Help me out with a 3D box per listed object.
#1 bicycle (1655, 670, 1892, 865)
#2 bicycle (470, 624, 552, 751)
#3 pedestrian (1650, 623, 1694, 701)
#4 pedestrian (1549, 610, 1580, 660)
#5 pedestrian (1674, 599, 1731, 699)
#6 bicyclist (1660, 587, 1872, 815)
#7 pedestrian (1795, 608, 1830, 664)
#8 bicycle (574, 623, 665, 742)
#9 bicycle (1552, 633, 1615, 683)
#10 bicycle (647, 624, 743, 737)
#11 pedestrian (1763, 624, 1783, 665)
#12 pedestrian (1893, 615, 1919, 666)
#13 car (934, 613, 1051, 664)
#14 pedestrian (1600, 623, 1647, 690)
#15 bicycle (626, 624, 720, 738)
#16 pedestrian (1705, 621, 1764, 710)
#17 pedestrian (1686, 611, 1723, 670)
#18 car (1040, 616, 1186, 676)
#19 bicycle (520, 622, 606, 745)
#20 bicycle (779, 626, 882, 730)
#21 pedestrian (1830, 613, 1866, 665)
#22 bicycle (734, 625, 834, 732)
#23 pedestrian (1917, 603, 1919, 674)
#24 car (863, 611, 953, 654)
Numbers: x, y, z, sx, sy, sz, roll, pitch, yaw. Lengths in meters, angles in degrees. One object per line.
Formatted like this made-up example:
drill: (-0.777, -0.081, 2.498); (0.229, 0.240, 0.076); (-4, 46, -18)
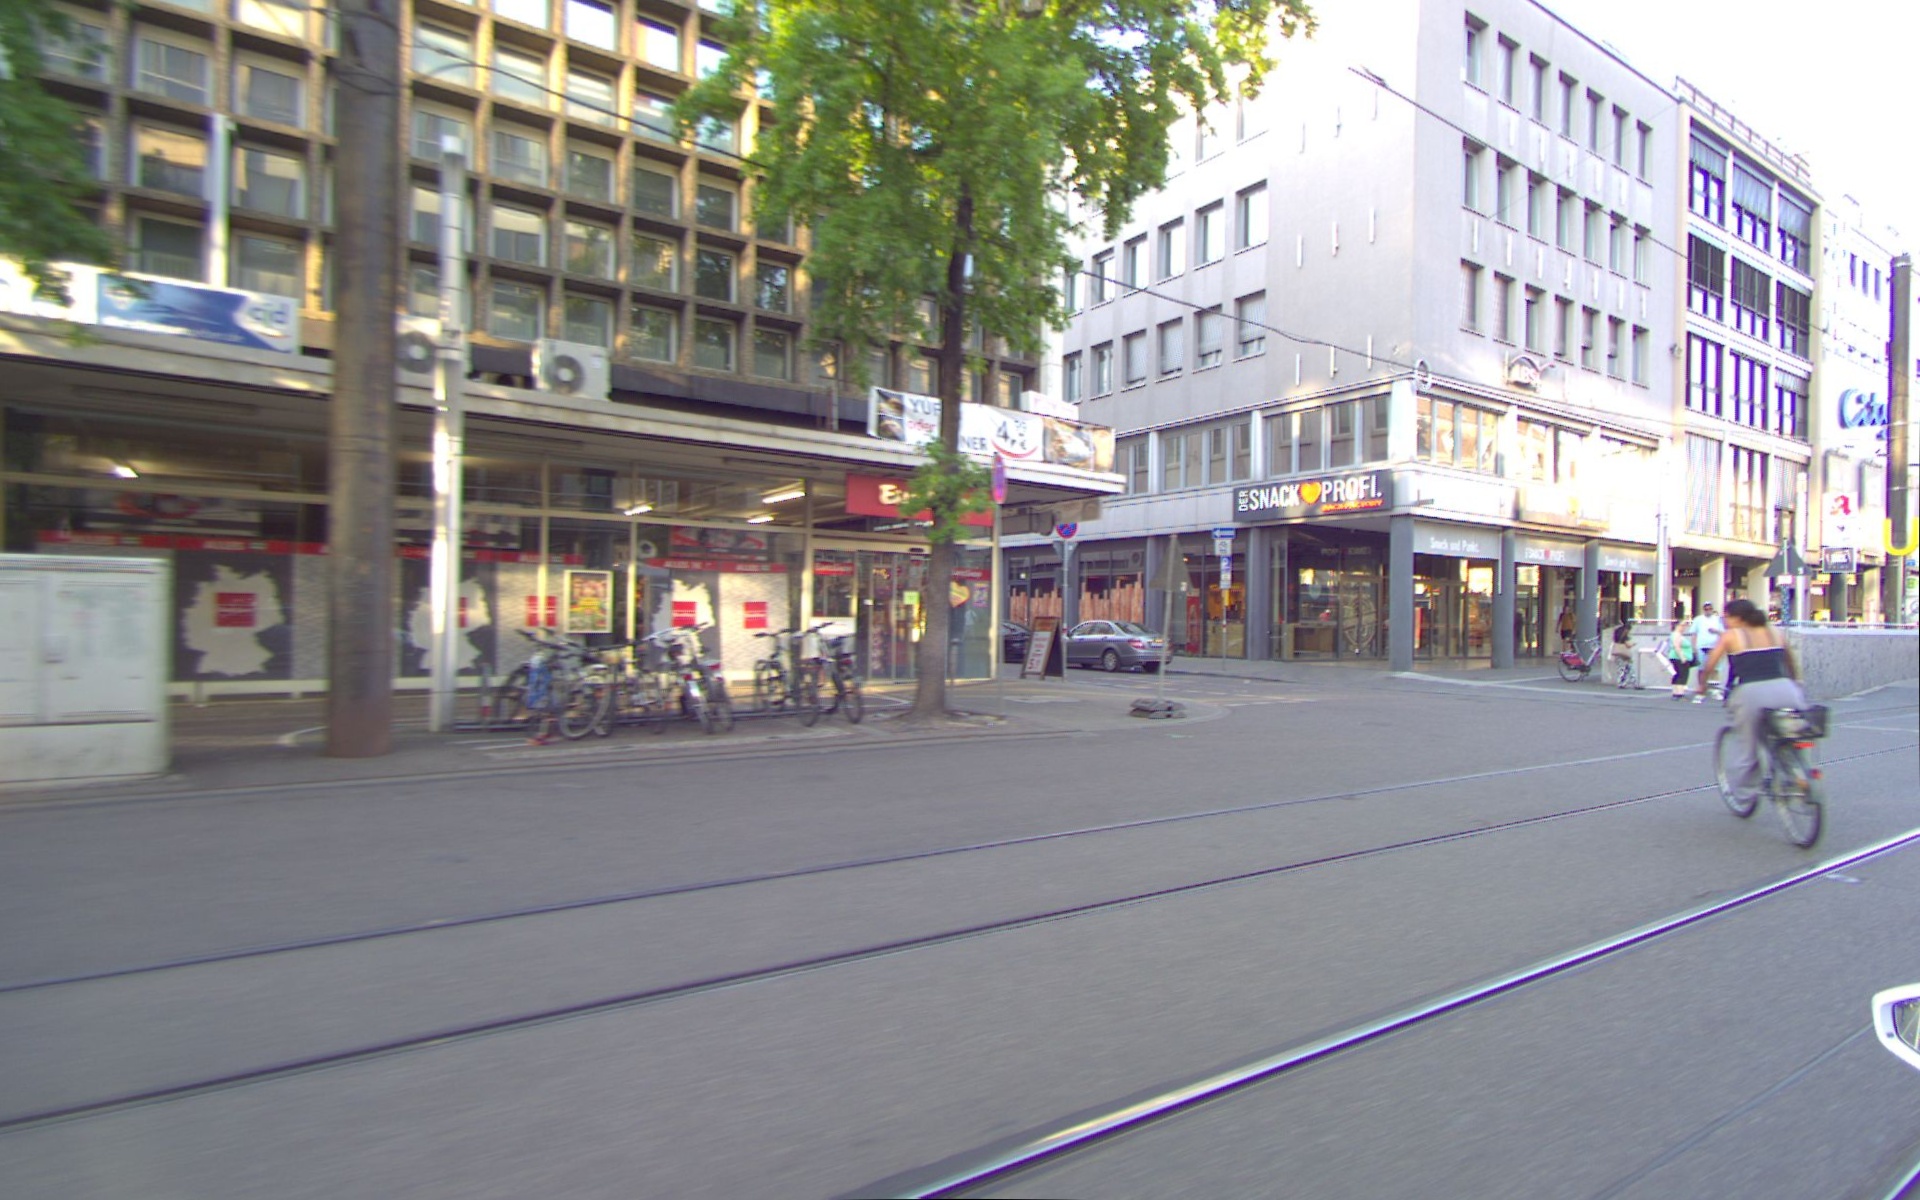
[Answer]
bicycle: (5.875, 1.126, 7.415); (0.802, 1.087, 2.112); (2, -1, 24)
bicycle: (-4.464, 0.813, 9.927); (0.484, 1.059, 1.761); (0, 1, -33)
pedestrian: (14.111, 1.220, 19.915); (0.551, 1.513, 0.598); (2, -1, -41)
pedestrian: (21.693, 1.246, 36.057); (0.702, 1.748, 0.709); (2, -1, -35)
pedestrian: (14.946, 0.977, 20.220); (0.704, 1.951, 0.766); (2, -1, -41)
bicyclist: (5.885, 0.696, 7.411); (0.981, 1.522, 0.856); (2, 0, 24)
pedestrian: (27.042, 1.140, 31.860); (0.615, 1.748, 0.605); (1, -1, 13)
bicycle: (-3.587, 0.810, 10.508); (0.484, 1.059, 1.761); (0, 1, -33)
bicycle: (15.237, 1.404, 24.550); (1.778, 1.122, 0.496); (0, 0, -29)
bicycle: (-2.924, 0.831, 10.978); (0.484, 1.059, 1.761); (0, 1, -33)
pedestrian: (31.329, 1.712, 38.697); (0.514, 1.567, 0.504); (2, -1, -41)
pedestrian: (30.301, 1.300, 32.154); (0.624, 1.609, 0.597); (2, -1, -43)
car: (1.025, 1.254, 33.594); (1.783, 1.530, 4.092); (2, -1, -35)
pedestrian: (14.855, 1.251, 22.498); (0.671, 1.453, 0.556); (1, -1, 5)
bicycle: (-3.125, 0.825, 10.847); (0.484, 1.059, 1.761); (0, 1, -33)
pedestrian: (13.921, 1.166, 18.057); (0.599, 1.562, 0.680); (2, -1, -34)
pedestrian: (22.623, 1.226, 30.538); (0.702, 1.748, 0.709); (2, -1, -35)
car: (4.281, 1.262, 28.659); (1.783, 1.530, 4.092); (2, -1, -35)
bicycle: (-4.058, 0.796, 10.194); (0.484, 1.059, 1.761); (0, 1, -33)
bicycle: (-1.557, 0.873, 11.854); (0.484, 1.059, 1.761); (0, 1, -33)
pedestrian: (27.706, 1.213, 31.338); (0.615, 1.609, 0.605); (1, -1, 15)
bicycle: (-2.053, 0.858, 11.564); (0.484, 1.059, 1.761); (0, 1, -33)
pedestrian: (26.741, 1.056, 27.490); (0.703, 1.950, 0.708); (2, -1, -38)
car: (-2.080, 1.220, 38.968); (1.780, 1.530, 3.965); (2, -1, -32)
